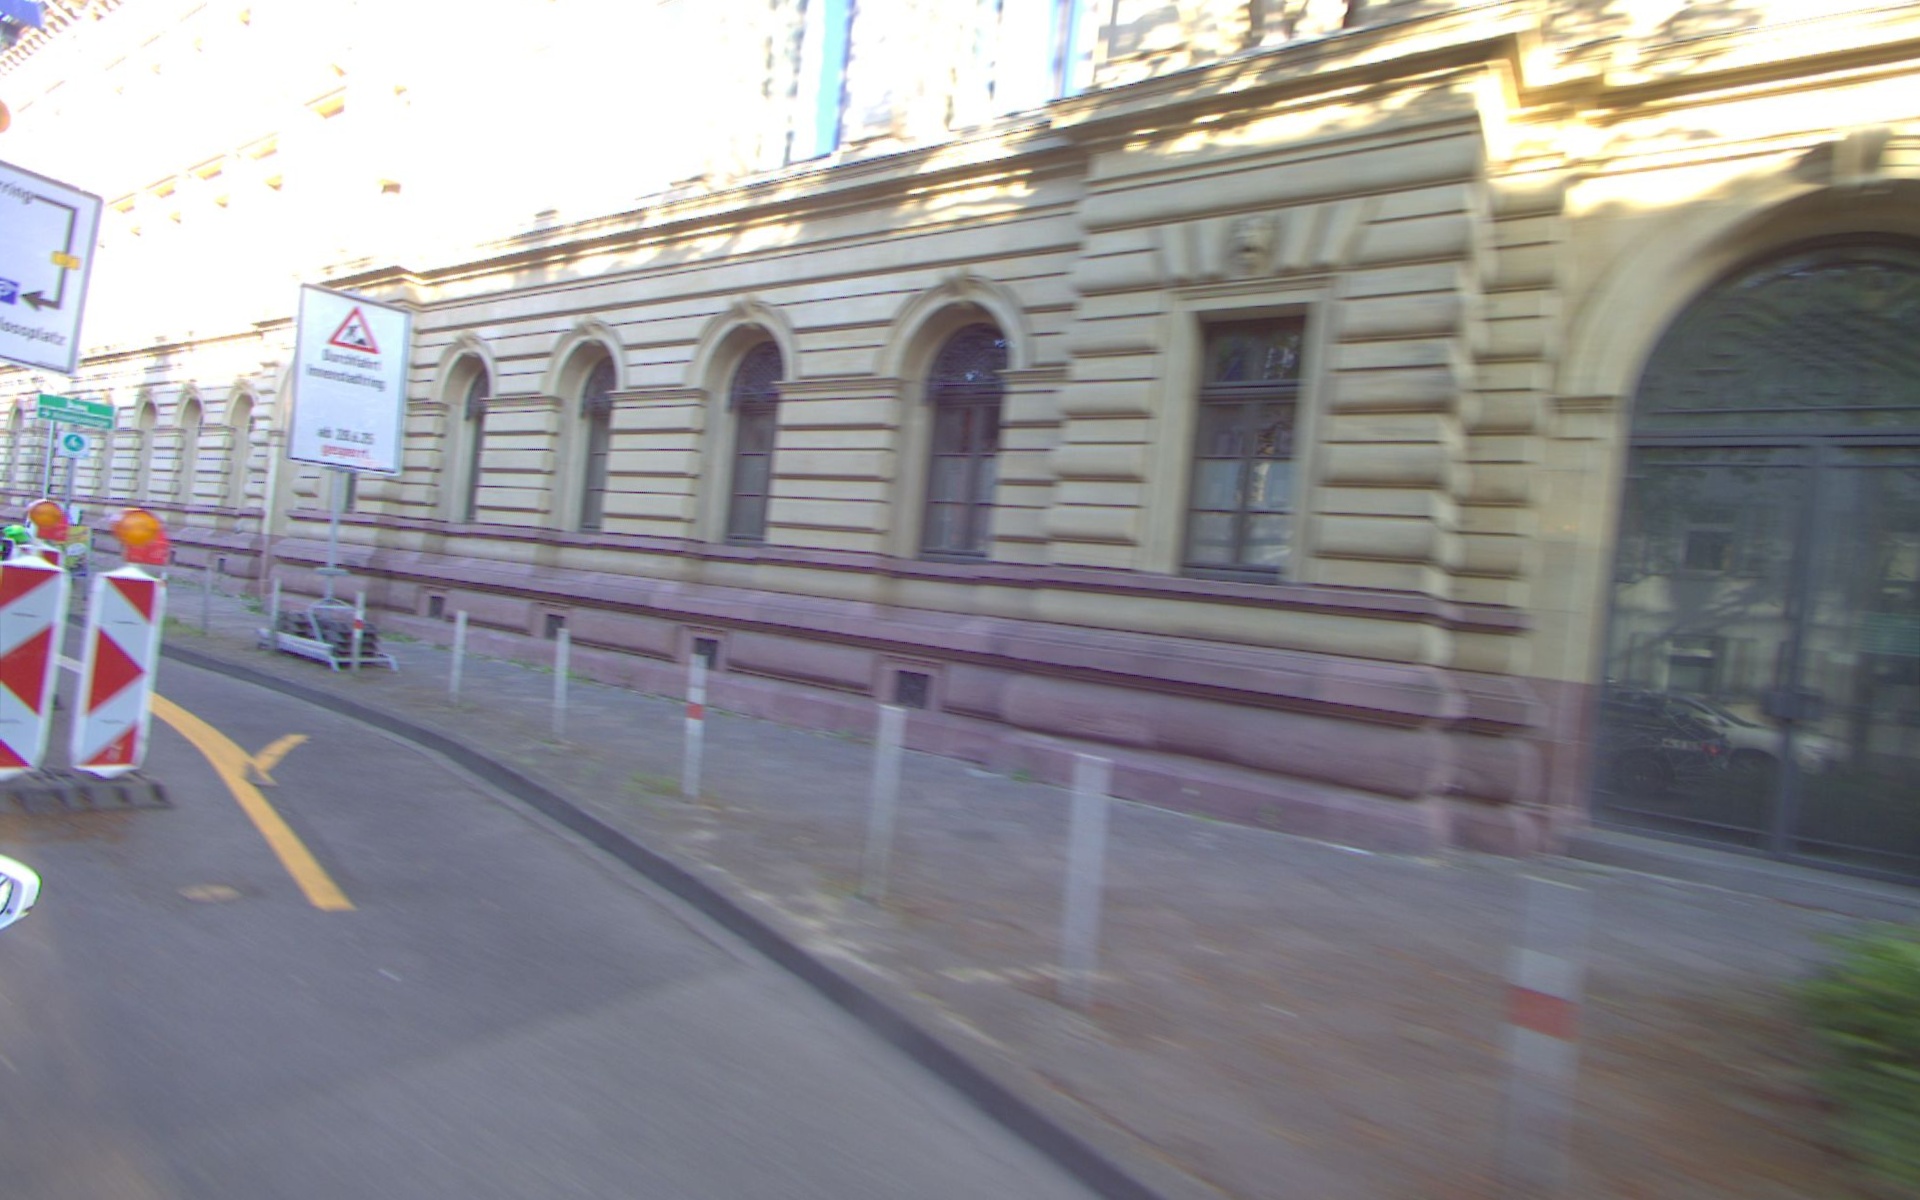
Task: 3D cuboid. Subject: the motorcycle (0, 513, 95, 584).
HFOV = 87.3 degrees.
[{"bbox_3d":[-18.151,-1.022,19.397,2.077,1.231,0.705,4,2,-26],"label":"motorcycle"}]
